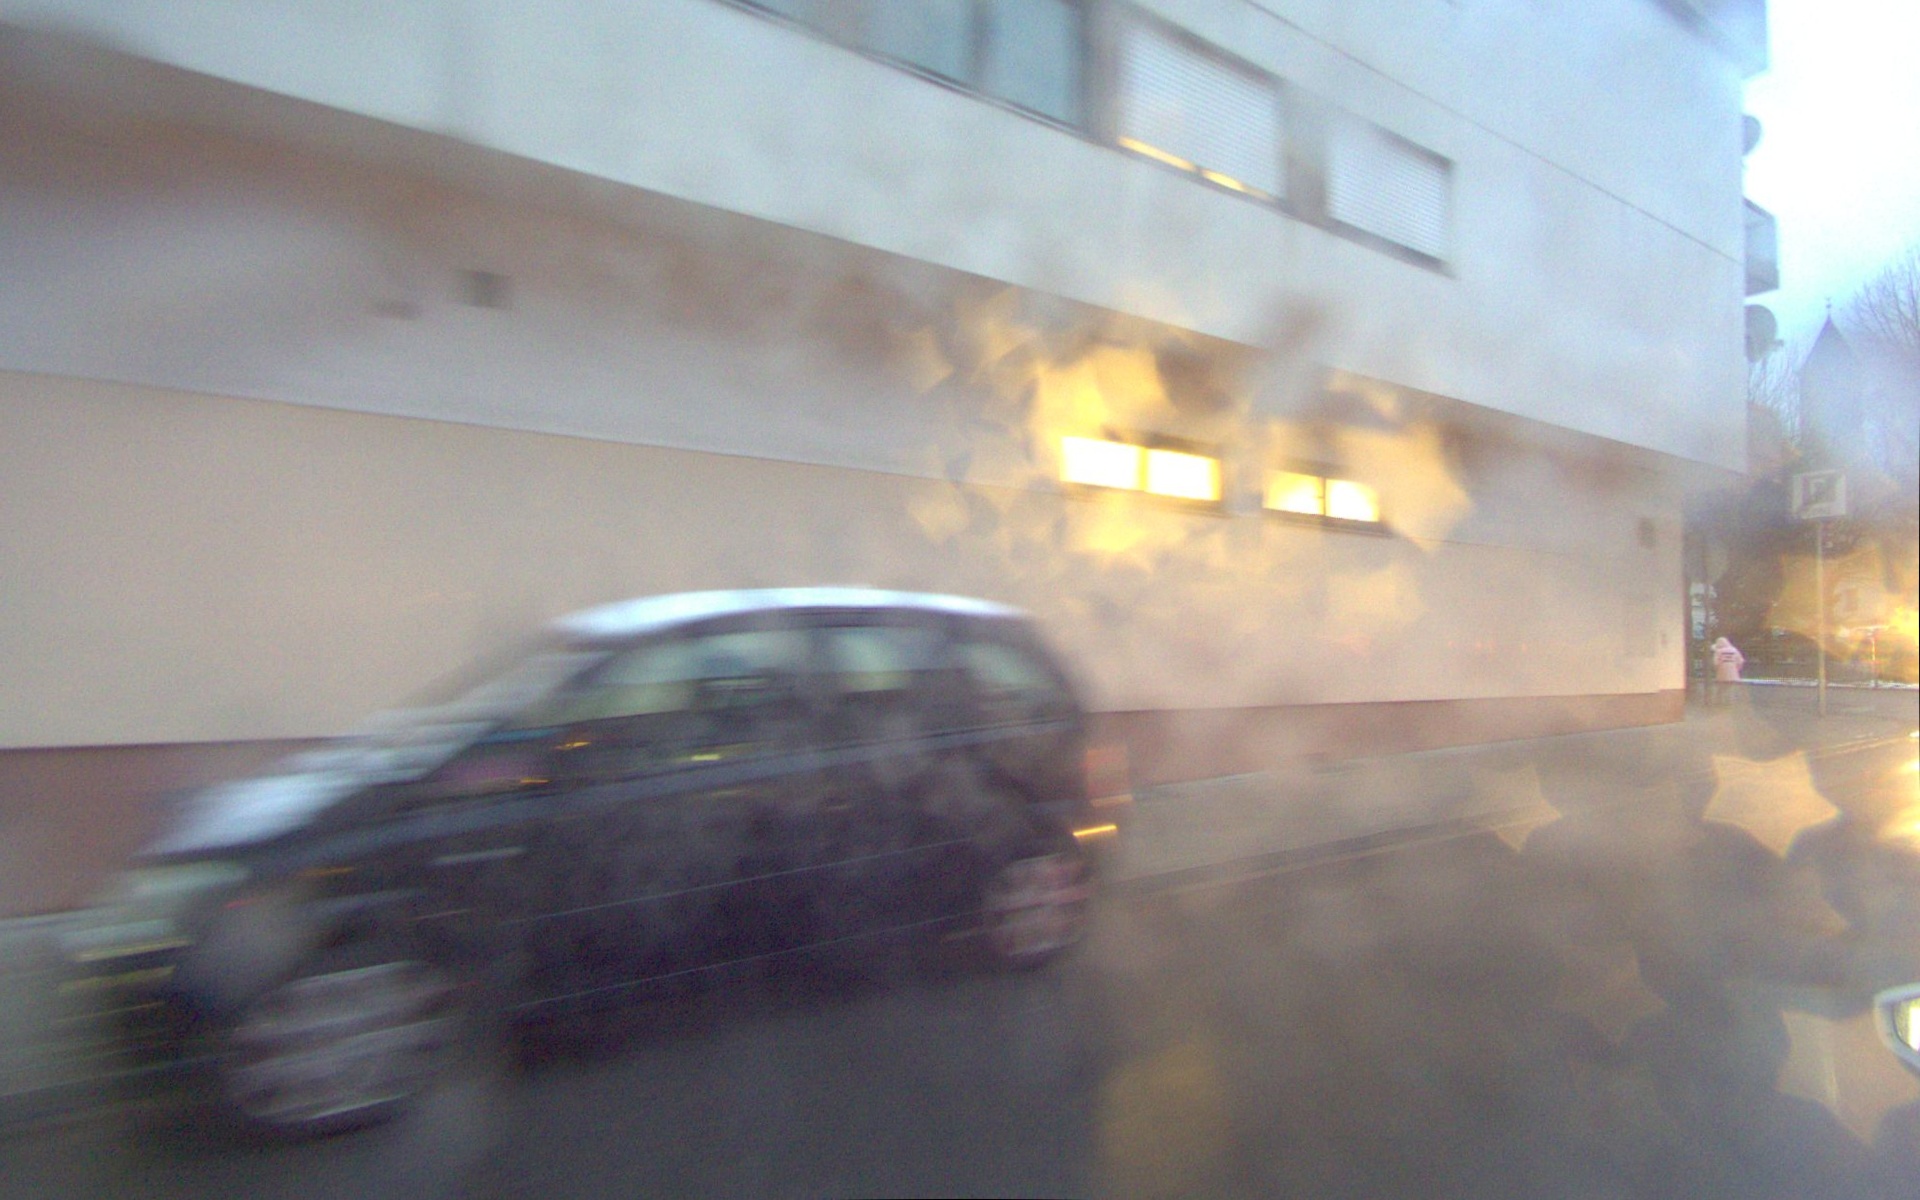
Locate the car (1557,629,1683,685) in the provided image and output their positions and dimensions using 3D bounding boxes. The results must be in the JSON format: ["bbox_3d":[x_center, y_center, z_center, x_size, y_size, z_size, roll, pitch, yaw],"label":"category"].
[{"bbox_3d":[25.500,2.145,38.976,1.787,2.014,3.992,0,-1,-12],"label":"car"}]

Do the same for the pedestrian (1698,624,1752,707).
[{"bbox_3d":[14.066,1.187,18.492,0.637,1.478,0.650,0,-1,22],"label":"pedestrian"}]

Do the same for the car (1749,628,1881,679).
[{"bbox_3d":[36.009,2.214,42.445,1.787,2.025,3.992,0,-1,-12],"label":"car"}]

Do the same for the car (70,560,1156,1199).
[{"bbox_3d":[-1.159,0.760,4.366,3.770,1.664,1.784,1,-1,-32],"label":"car"}]

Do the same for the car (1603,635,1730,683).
[{"bbox_3d":[28.067,2.298,40.064,1.787,1.753,3.992,0,-1,-12],"label":"car"}]
